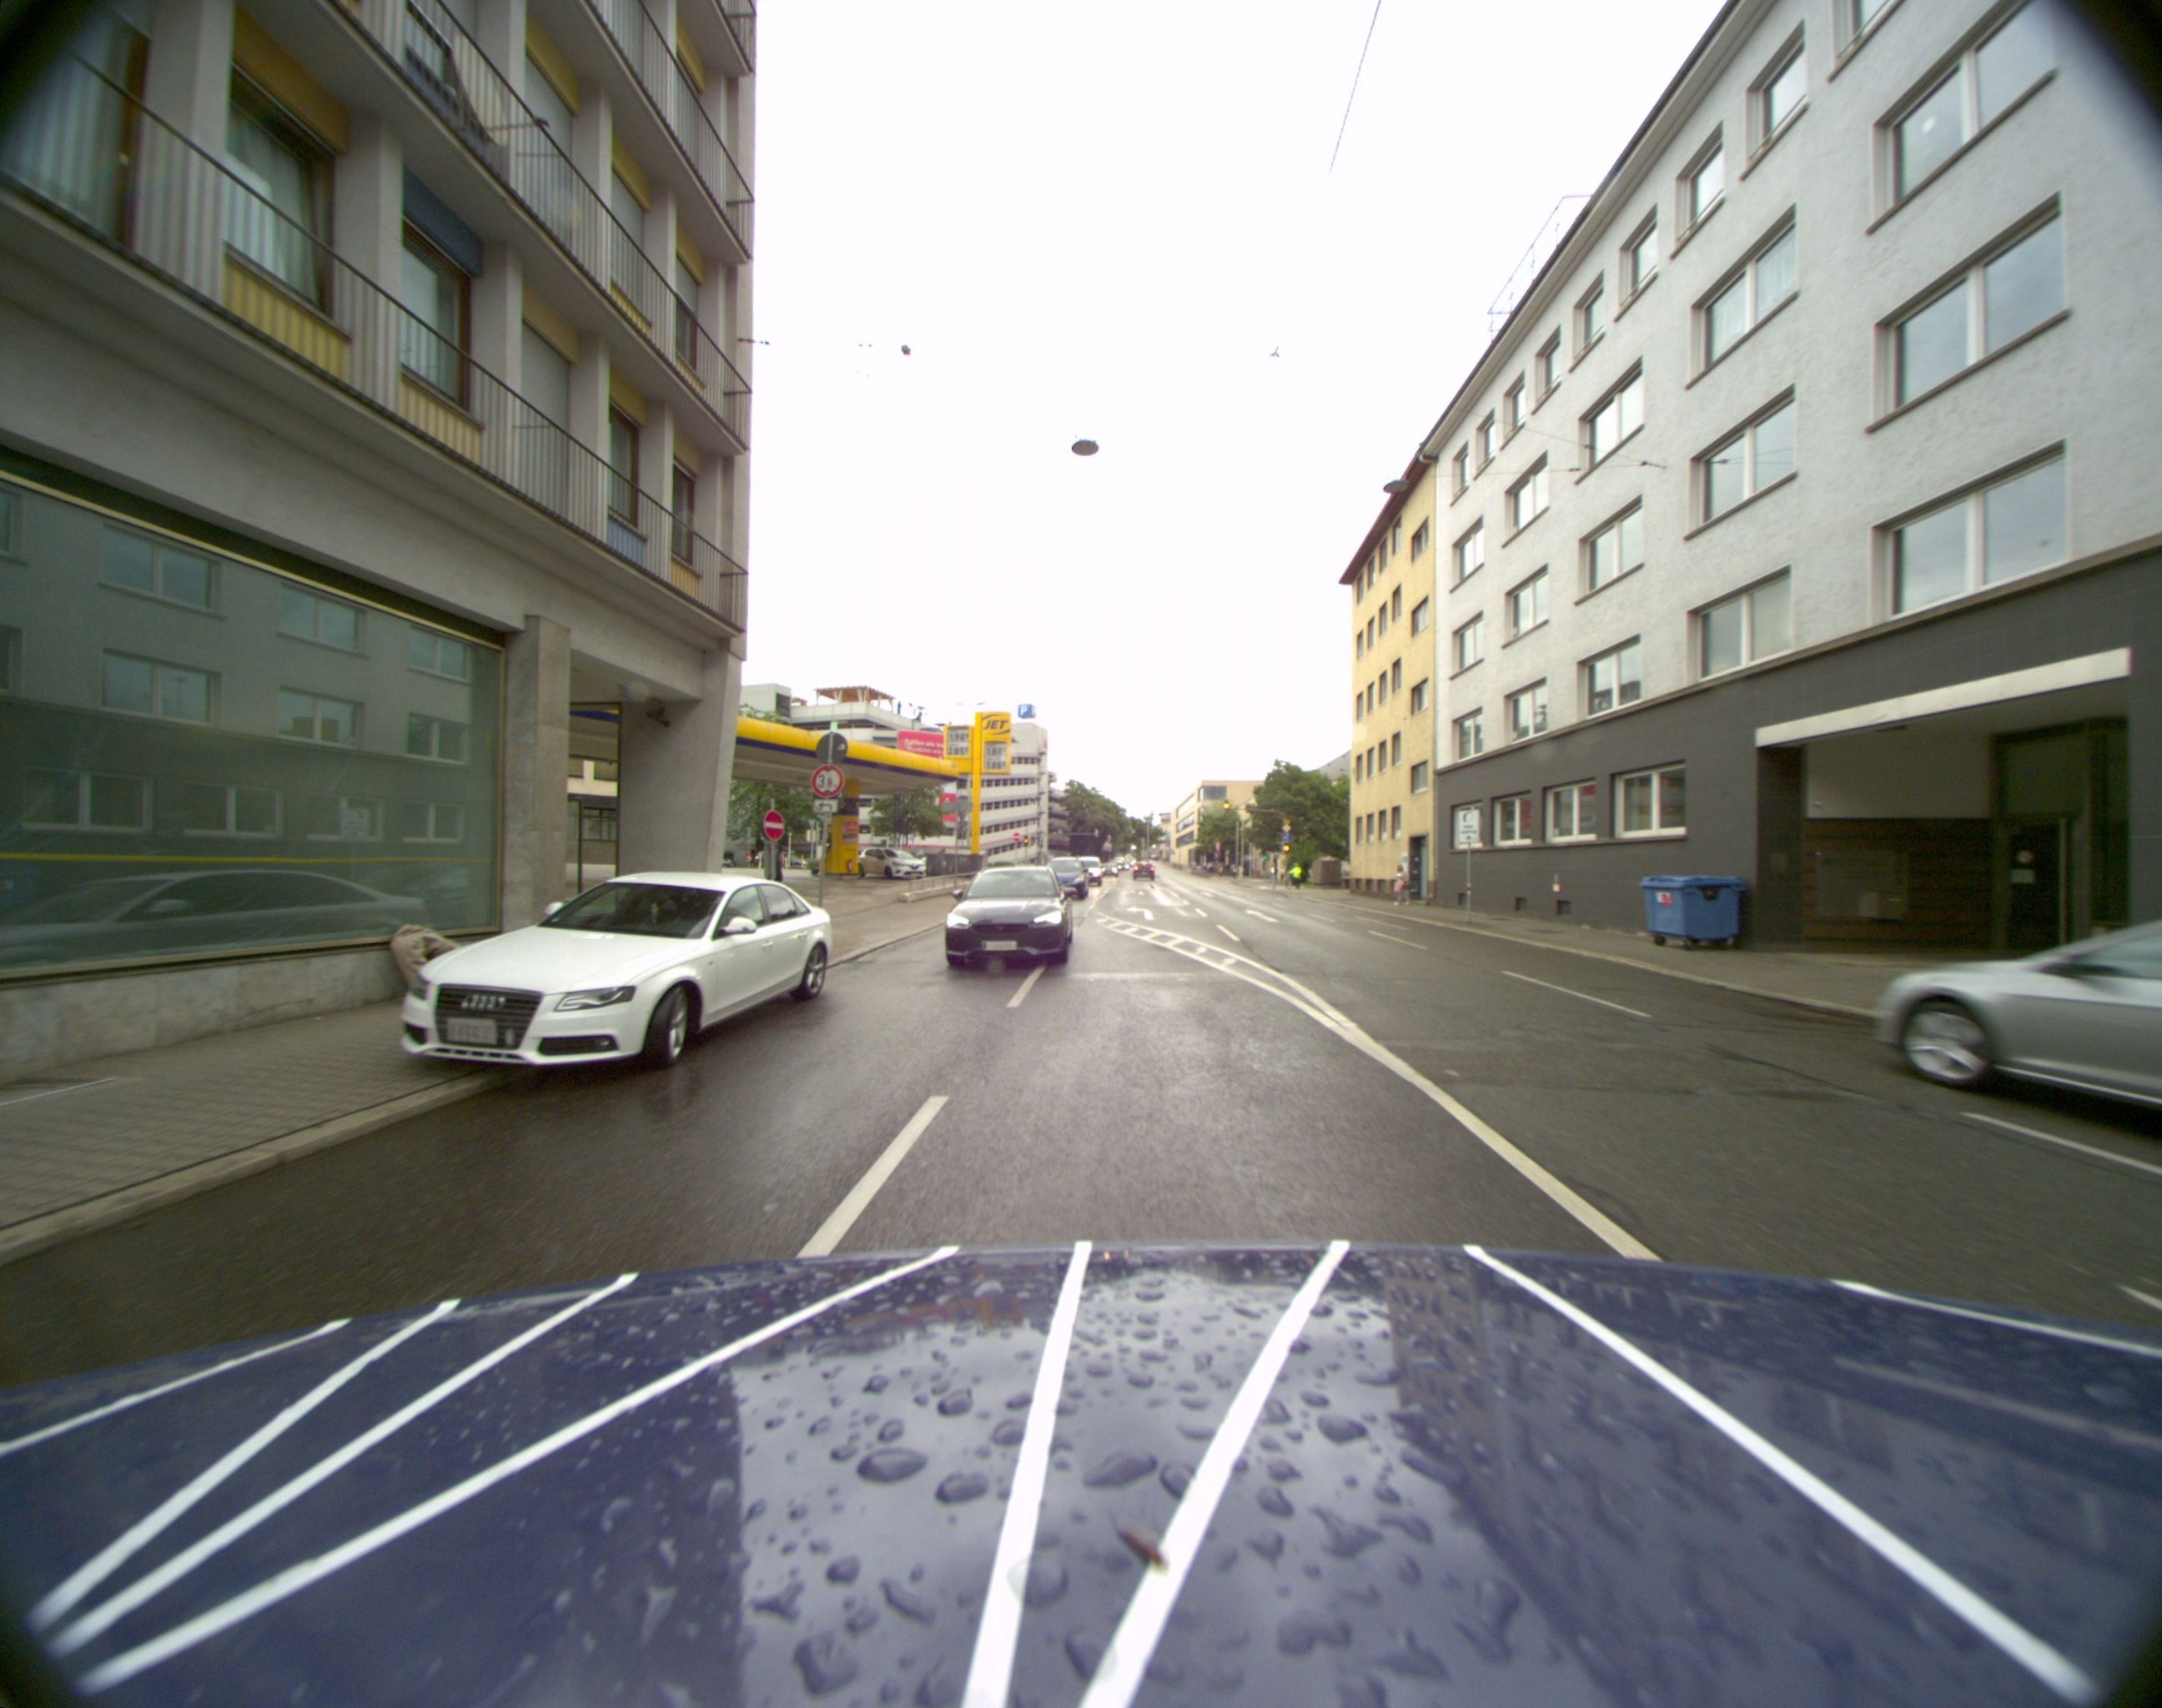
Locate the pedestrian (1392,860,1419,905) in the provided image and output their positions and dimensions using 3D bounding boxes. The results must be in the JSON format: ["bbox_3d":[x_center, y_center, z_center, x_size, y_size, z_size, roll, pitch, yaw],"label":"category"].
[{"bbox_3d":[12.258,1.076,28.727,0.718,1.679,0.811,-1,0,6],"label":"pedestrian"}]

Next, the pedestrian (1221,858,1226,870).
[{"bbox_3d":[17.773,1.231,94.739,0.595,1.507,0.692,-1,0,3],"label":"pedestrian"}]

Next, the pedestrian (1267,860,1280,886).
[{"bbox_3d":[12.675,1.248,50.025,0.718,1.679,0.811,-1,0,6],"label":"pedestrian"}]

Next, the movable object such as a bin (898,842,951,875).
[{"bbox_3d":[-7.945,0.232,38.773,2.160,1.546,1.774,2,0,5],"label":"movable object such as a bin"}]

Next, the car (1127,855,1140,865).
[{"bbox_3d":[9.096,1.067,132.506,1.998,1.772,4.000,-1,0,2],"label":"car"}]

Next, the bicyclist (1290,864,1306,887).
[{"bbox_3d":[13.806,1.344,48.434,0.844,1.433,0.813,-1,0,6],"label":"bicyclist"}]

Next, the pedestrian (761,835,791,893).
[{"bbox_3d":[-9.395,0.308,23.432,0.661,1.761,0.528,2,2,-38],"label":"pedestrian"}]

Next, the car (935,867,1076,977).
[{"bbox_3d":[-1.033,0.950,12.470,1.738,1.380,4.583,-1,0,1],"label":"car"}]

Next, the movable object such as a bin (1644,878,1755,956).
[{"bbox_3d":[11.251,1.119,13.877,1.078,1.316,1.191,-1,0,4],"label":"movable object such as a bin"}]

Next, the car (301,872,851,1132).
[{"bbox_3d":[-3.939,0.997,7.166,1.898,1.394,4.609,5,0,2],"label":"car"}]

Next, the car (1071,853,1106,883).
[{"bbox_3d":[0.527,0.868,47.860,1.804,1.817,3.951,-1,-1,5],"label":"car"}]

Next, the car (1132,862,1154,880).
[{"bbox_3d":[5.508,1.481,67.362,1.811,1.585,4.297,1,0,5],"label":"car"}]

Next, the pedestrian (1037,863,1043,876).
[{"bbox_3d":[-5.253,2.012,97.939,0.583,1.650,0.519,3,2,21],"label":"pedestrian"}]

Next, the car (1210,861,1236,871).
[{"bbox_3d":[23.551,1.911,126.163,3.994,1.575,2.001,-1,0,8],"label":"car"}]

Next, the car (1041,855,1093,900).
[{"bbox_3d":[-0.493,0.888,29.858,1.846,1.646,4.000,0,0,1],"label":"car"}]

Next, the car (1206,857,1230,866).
[{"bbox_3d":[23.175,1.272,128.626,3.994,1.575,2.001,-1,0,8],"label":"car"}]

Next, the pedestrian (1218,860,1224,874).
[{"bbox_3d":[17.118,1.615,93.084,0.595,1.761,0.692,-1,0,3],"label":"pedestrian"}]

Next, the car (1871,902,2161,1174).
[{"bbox_3d":[6.856,1.110,3.592,1.830,1.408,4.296,4,0,3],"label":"car"}]

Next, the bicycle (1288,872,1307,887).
[{"bbox_3d":[13.782,1.607,48.427,0.887,0.902,1.867,-1,0,6],"label":"bicycle"}]

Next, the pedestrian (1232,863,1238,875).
[{"bbox_3d":[18.669,1.809,92.008,0.622,1.368,0.475,-1,0,5],"label":"pedestrian"}]

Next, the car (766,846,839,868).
[{"bbox_3d":[-22.135,0.243,60.553,5.036,1.622,2.000,-1,0,-2],"label":"car"}]

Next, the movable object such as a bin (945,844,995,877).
[{"bbox_3d":[-5.622,0.322,38.727,2.160,1.565,1.774,1,0,5],"label":"movable object such as a bin"}]

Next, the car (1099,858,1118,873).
[{"bbox_3d":[3.006,1.217,83.397,1.804,1.561,3.951,-1,-1,5],"label":"car"}]

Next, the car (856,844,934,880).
[{"bbox_3d":[-8.580,0.350,34.947,1.750,1.434,3.987,2,1,-42],"label":"car"}]
